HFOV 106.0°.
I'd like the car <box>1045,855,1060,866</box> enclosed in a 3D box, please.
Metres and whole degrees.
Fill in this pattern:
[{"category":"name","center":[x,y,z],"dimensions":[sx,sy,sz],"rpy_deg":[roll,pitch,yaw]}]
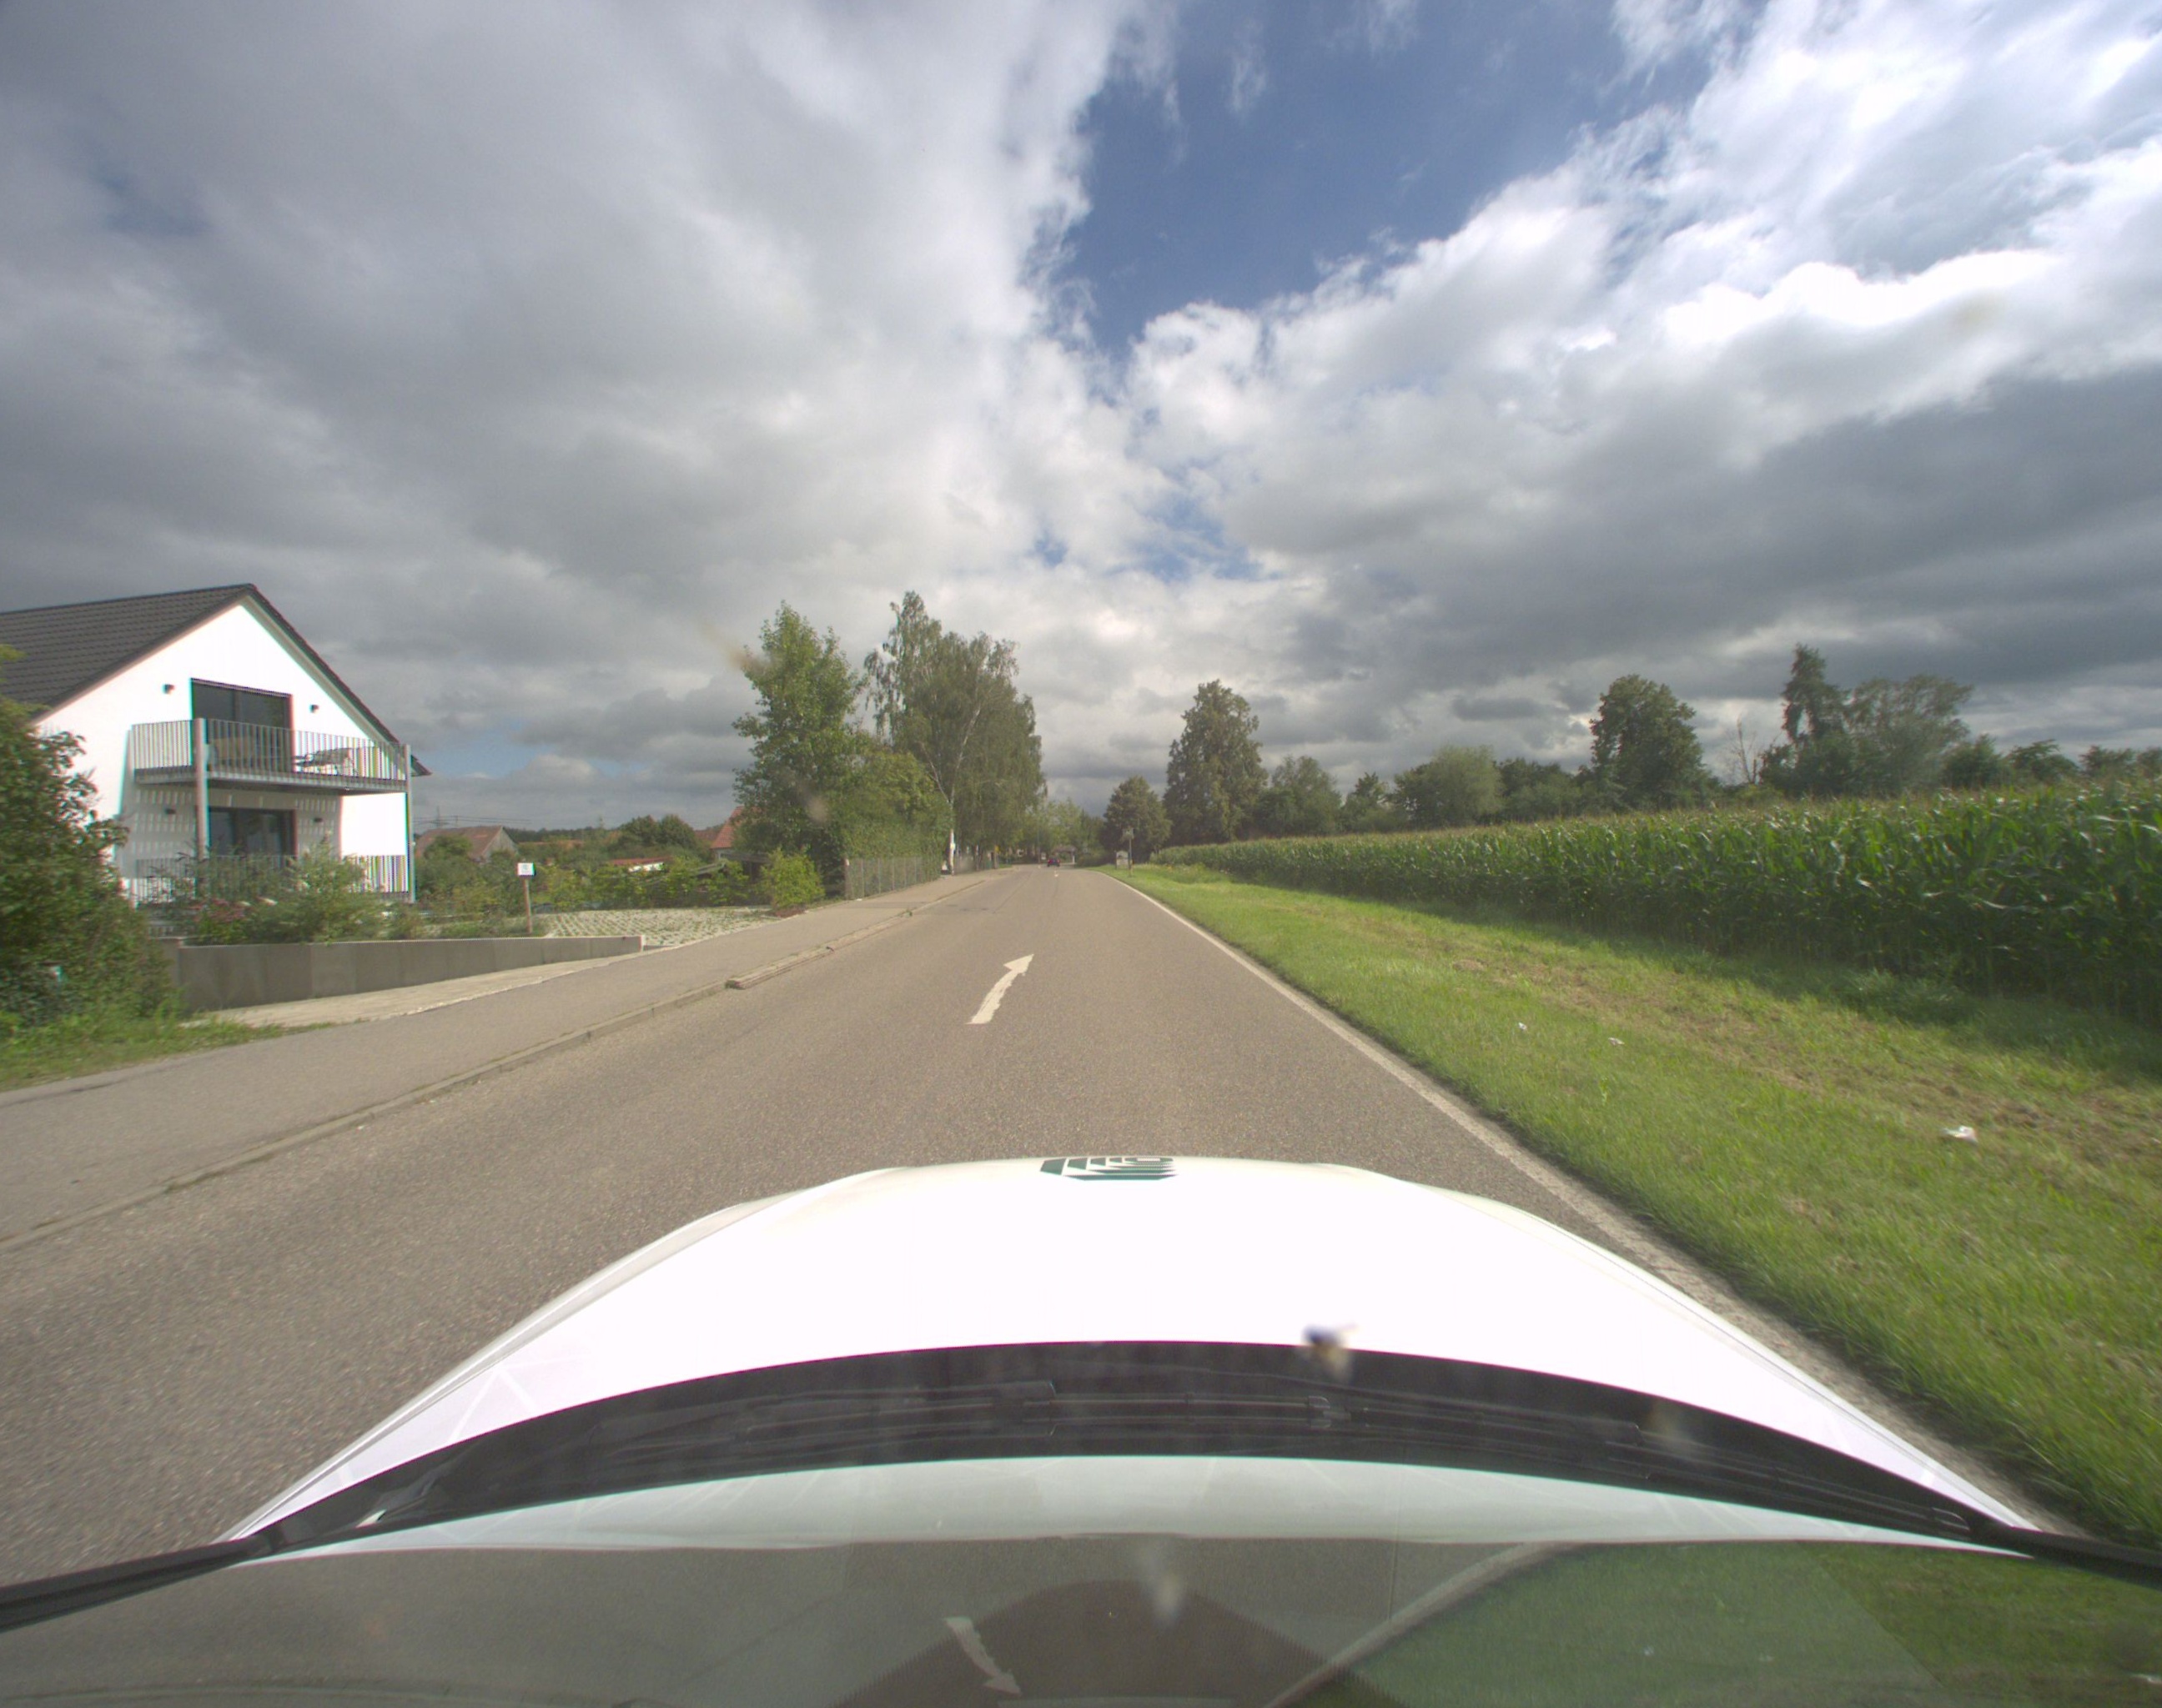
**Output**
[{"category":"car","center":[-4.452,1.046,126.697],"dimensions":[1.992,1.585,3.990],"rpy_deg":[-1,0,-7]}]
